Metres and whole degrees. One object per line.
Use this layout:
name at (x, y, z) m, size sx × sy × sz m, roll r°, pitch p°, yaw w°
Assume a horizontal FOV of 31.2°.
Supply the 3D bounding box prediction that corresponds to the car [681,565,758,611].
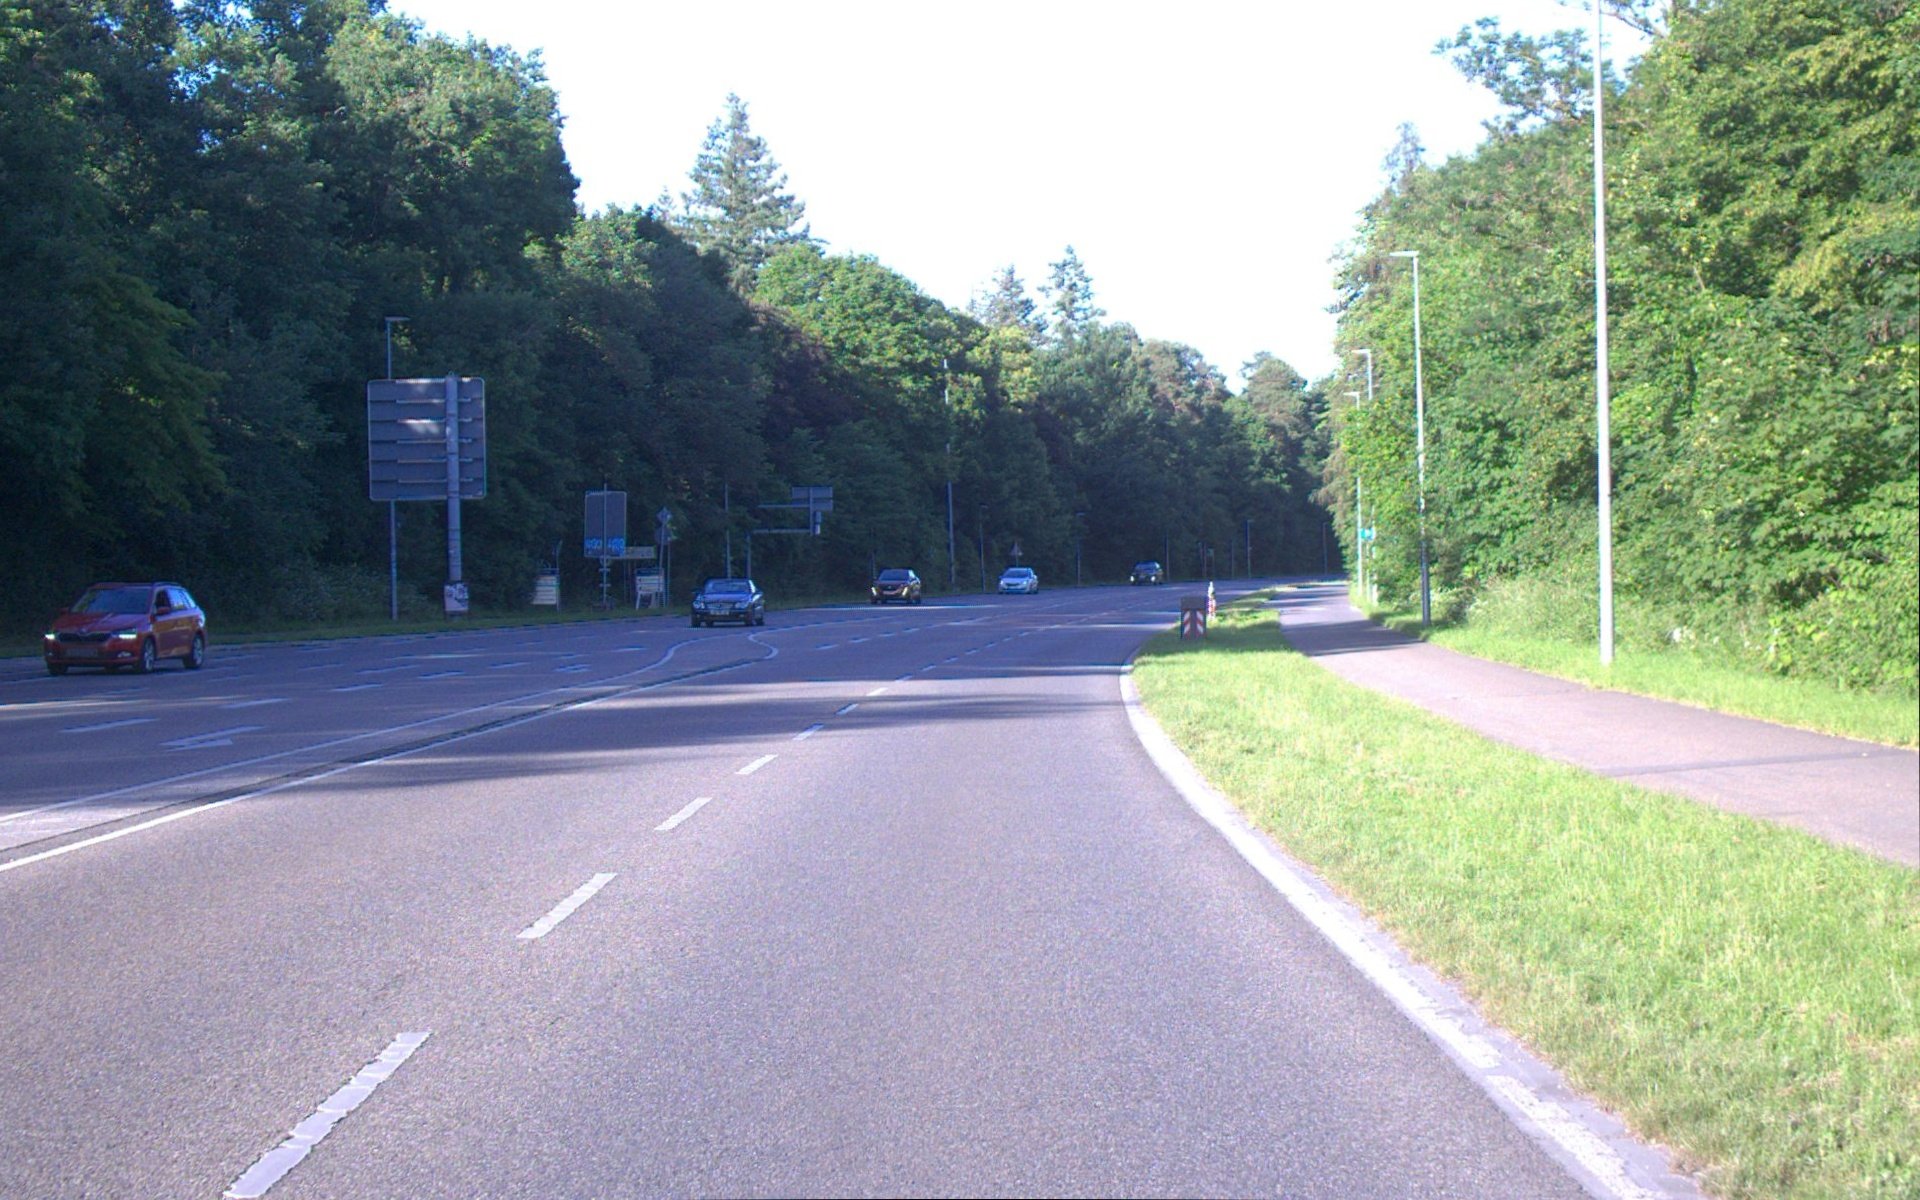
car at (-6.803, -0.354, 97.648) m, size 1.744 × 1.230 × 4.673 m, roll -1°, pitch 1°, yaw 1°

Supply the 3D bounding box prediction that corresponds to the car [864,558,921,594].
car at (-2.951, -1.060, 150.793) m, size 1.825 × 1.539 × 4.255 m, roll -1°, pitch 1°, yaw 8°

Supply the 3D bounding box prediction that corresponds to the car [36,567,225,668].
car at (-13.808, 0.261, 57.452) m, size 1.993 × 1.559 × 4.338 m, roll -1°, pitch 1°, yaw 1°

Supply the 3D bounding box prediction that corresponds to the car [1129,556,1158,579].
car at (13.023, -2.332, 244.066) m, size 1.825 × 1.584 × 4.350 m, roll 0°, pitch 1°, yaw 6°

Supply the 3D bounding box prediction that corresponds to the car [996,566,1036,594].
car at (3.118, -1.139, 191.177) m, size 1.825 × 1.499 × 4.305 m, roll 0°, pitch 1°, yaw 6°
